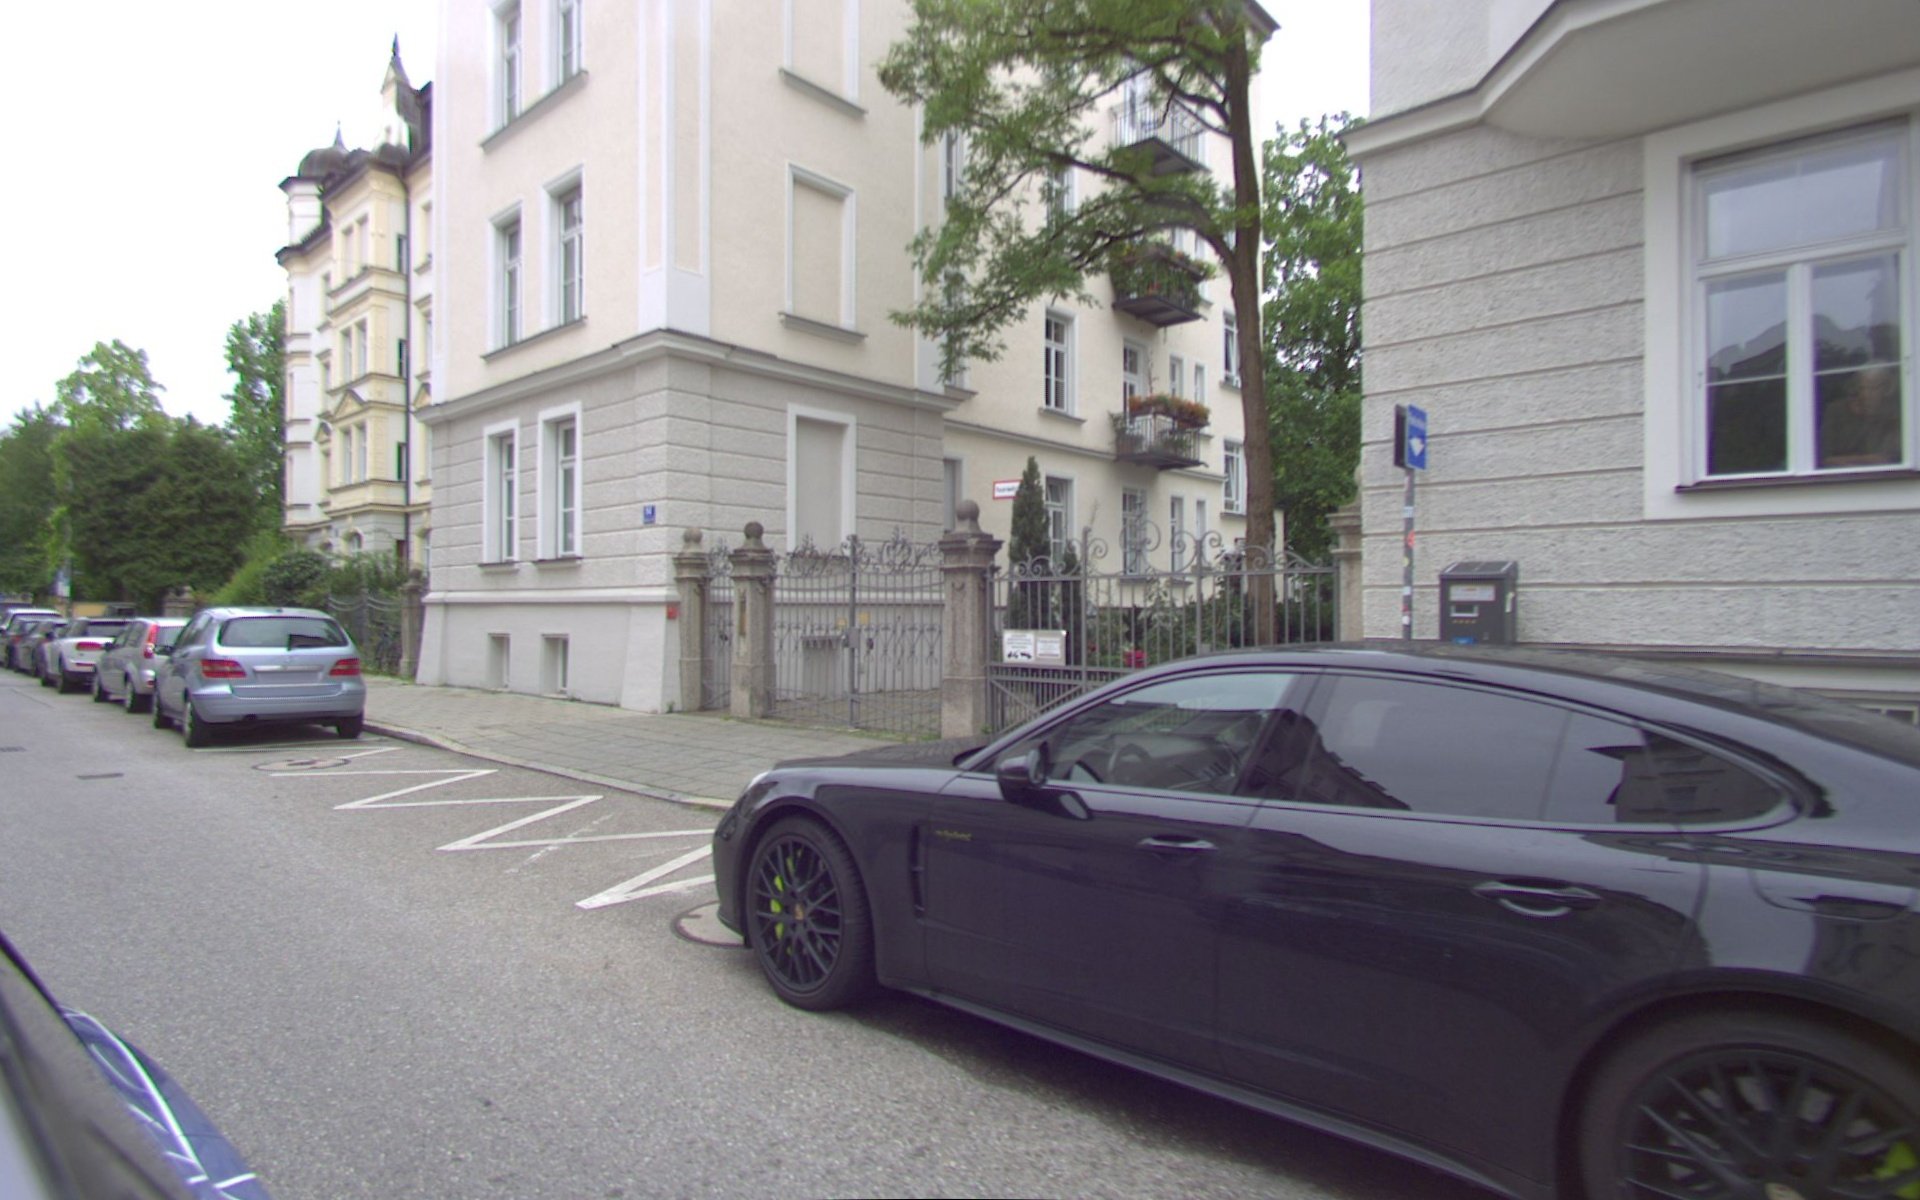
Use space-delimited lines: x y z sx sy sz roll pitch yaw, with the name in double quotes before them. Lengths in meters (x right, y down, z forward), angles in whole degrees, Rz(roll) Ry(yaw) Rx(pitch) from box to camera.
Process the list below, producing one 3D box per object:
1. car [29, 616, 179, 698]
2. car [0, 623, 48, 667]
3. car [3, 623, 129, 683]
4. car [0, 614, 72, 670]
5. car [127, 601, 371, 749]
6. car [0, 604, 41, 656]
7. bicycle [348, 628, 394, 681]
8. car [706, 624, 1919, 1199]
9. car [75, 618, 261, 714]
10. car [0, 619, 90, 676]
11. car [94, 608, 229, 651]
"car" -17.160 1.052 20.234 4.079 1.445 1.778 0 -1 42
"car" -33.114 1.535 35.170 3.918 1.441 1.625 -1 -4 42
"car" -22.477 1.296 25.402 4.189 1.375 1.717 -1 -3 40
"car" -29.837 1.303 32.221 4.484 1.661 1.787 -1 -3 42
"car" -9.146 0.882 12.888 4.061 1.593 1.678 -1 -4 43
"car" -36.289 1.097 38.211 4.816 1.901 1.891 0 -2 42
"bicycle" -12.576 1.142 21.589 1.420 1.069 0.427 -1 2 44
"car" 1.337 0.786 3.285 4.699 1.377 1.830 -1 -1 41
"car" -13.300 1.038 16.916 3.997 1.414 1.628 -1 -3 40
"car" -25.902 1.273 28.321 3.997 1.431 1.750 0 -1 40
"car" -36.402 1.325 46.229 2.050 1.872 4.467 -1 -1 35
